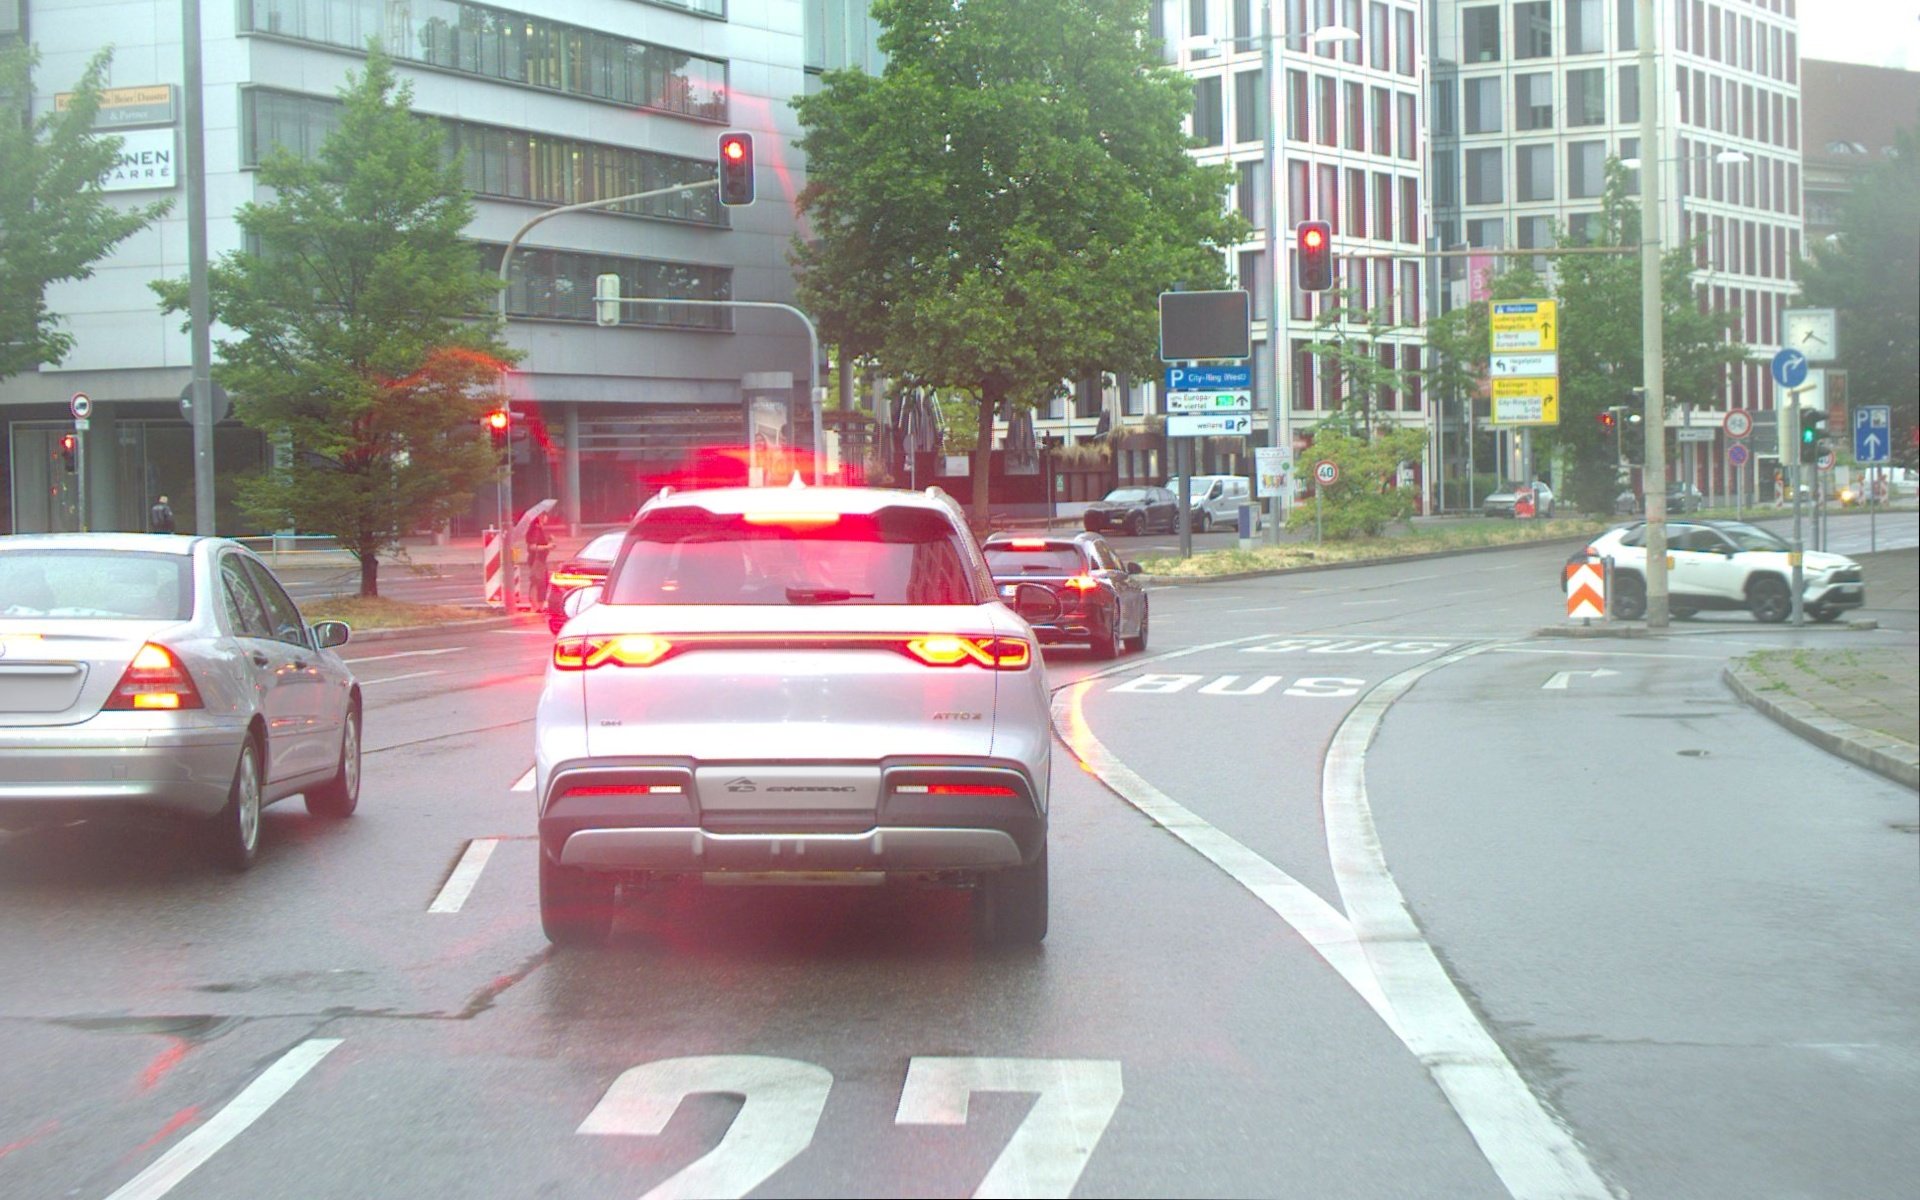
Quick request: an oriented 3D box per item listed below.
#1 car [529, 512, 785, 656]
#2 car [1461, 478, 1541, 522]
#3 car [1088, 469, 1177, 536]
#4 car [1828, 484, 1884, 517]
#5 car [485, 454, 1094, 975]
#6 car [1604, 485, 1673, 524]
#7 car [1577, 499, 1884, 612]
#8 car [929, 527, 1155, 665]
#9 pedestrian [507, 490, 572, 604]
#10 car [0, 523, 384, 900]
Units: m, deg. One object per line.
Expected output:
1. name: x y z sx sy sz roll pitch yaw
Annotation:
1. car: -3.349 -0.222 38.772 1.956 1.525 3.999 0 1 9
2. car: 22.636 -4.197 143.725 1.997 1.700 4.302 1 3 28
3. car: 5.788 -3.253 115.072 1.739 2.154 4.489 1 1 19
4. car: 47.580 -5.294 182.531 1.996 1.700 3.995 1 3 27
5. car: -0.649 0.321 13.554 1.993 1.703 4.483 0 1 -2
6. car: 32.030 -4.528 162.245 1.997 1.700 4.302 1 3 28
7. car: 12.450 -0.759 55.772 1.994 1.744 4.529 -1 2 -42
8. car: 1.028 -0.090 40.653 1.956 1.525 3.998 0 1 12
9. pedestrian: -6.409 -0.811 52.425 0.921 1.732 0.730 0 1 -4
10. car: -3.860 0.398 15.702 1.682 1.481 4.197 0 1 1
